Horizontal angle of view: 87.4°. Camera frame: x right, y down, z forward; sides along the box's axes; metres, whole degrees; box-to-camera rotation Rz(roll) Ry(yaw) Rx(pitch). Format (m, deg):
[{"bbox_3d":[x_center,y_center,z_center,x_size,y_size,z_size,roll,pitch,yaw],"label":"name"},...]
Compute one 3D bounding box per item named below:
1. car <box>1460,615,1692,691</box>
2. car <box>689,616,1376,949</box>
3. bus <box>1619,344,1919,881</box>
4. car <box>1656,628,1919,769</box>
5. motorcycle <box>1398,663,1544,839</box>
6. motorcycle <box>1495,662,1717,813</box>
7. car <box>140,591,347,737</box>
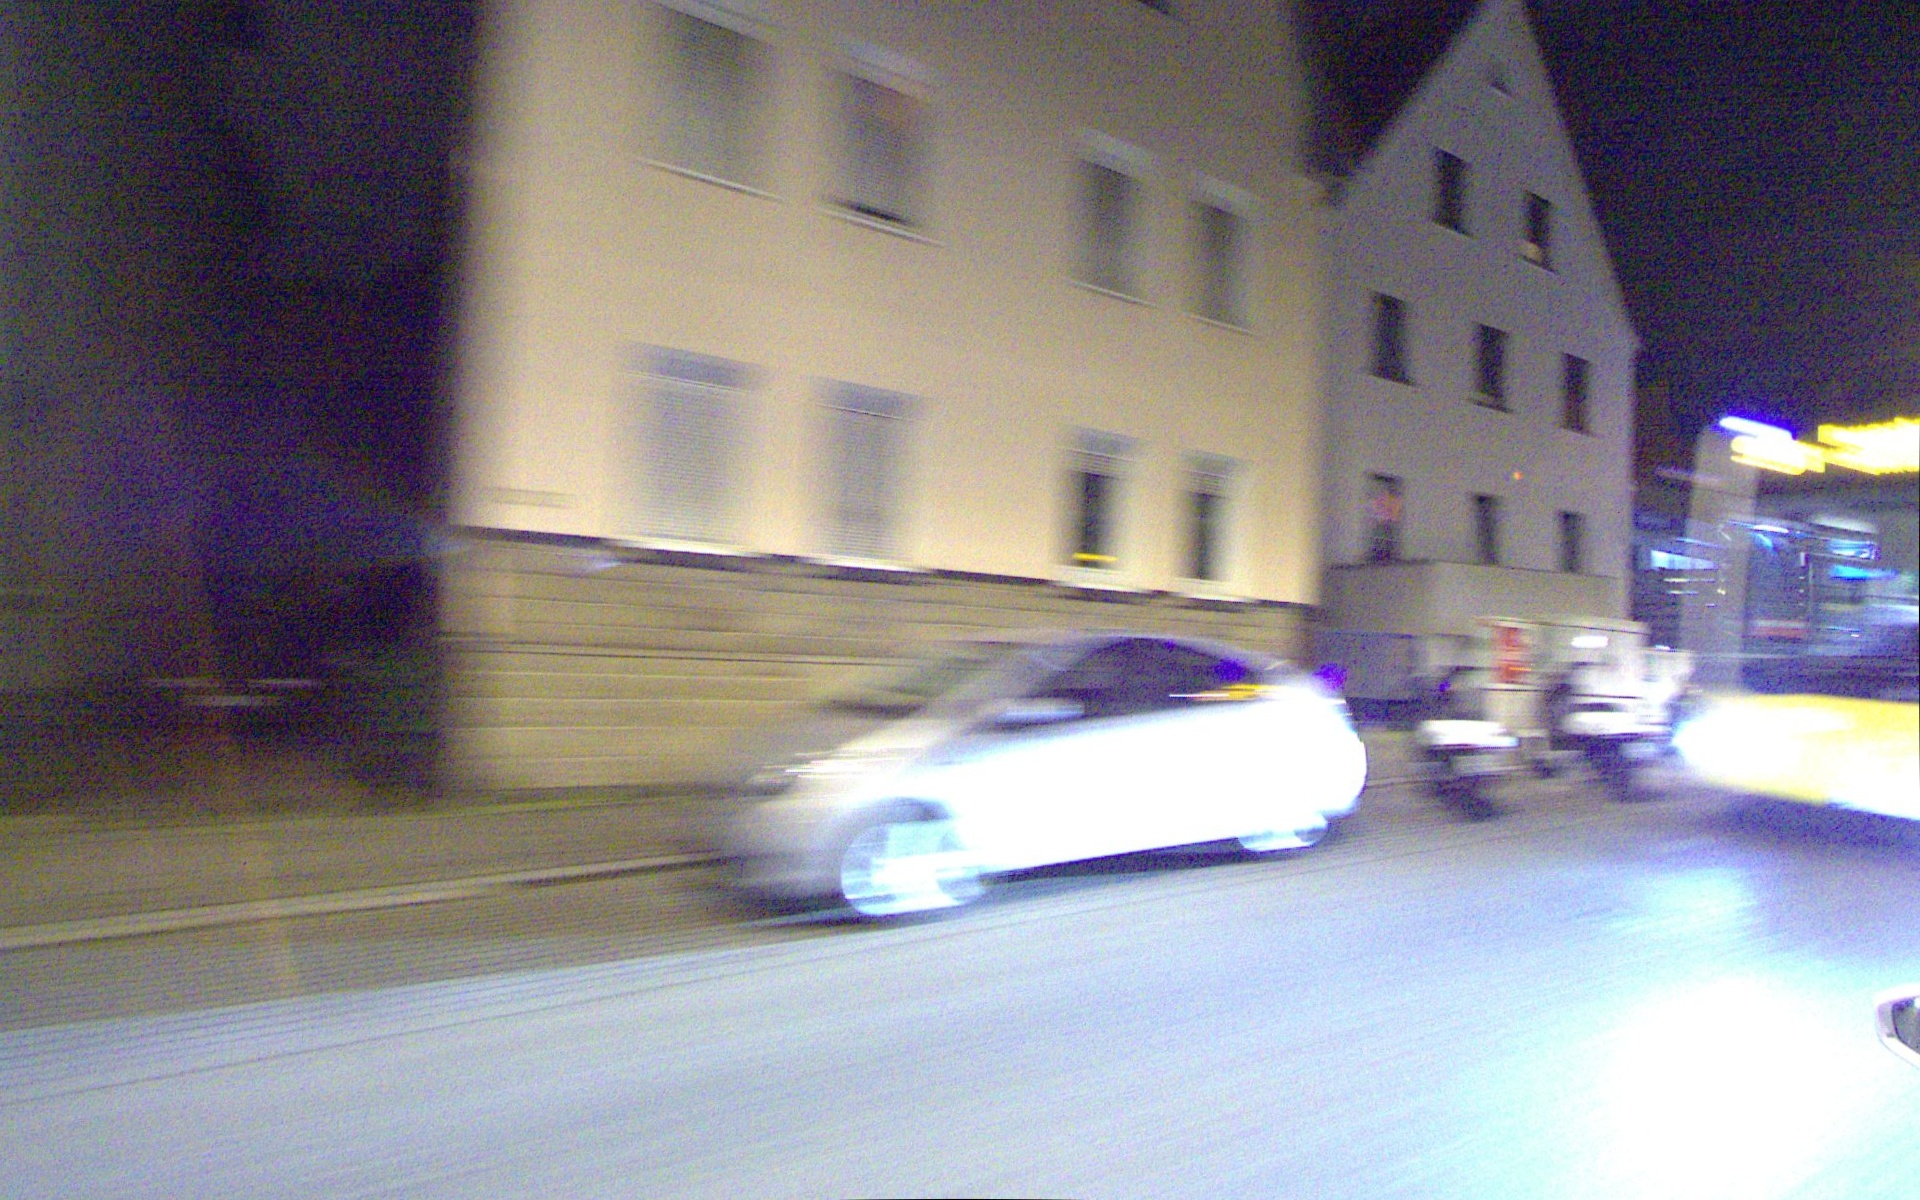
[{"bbox_3d":[14.029,1.163,23.150,1.850,1.525,4.209,2,-1,-28],"label":"car"},{"bbox_3d":[0.584,0.902,6.407,4.180,1.511,1.695,1,-3,-32],"label":"car"},{"bbox_3d":[10.074,0.166,8.901,10.376,3.220,2.823,1,0,-31],"label":"bus"},{"bbox_3d":[10.175,1.145,12.350,2.731,1.517,1.632,2,-2,-29],"label":"car"},{"bbox_3d":[4.117,1.137,8.264,0.701,1.162,2.210,0,-2,17],"label":"motorcycle"},{"bbox_3d":[5.828,1.180,9.251,0.701,1.146,2.210,0,-2,3],"label":"motorcycle"},{"bbox_3d":[-8.646,0.711,12.426,1.719,1.507,3.769,4,-2,-31],"label":"car"}]
